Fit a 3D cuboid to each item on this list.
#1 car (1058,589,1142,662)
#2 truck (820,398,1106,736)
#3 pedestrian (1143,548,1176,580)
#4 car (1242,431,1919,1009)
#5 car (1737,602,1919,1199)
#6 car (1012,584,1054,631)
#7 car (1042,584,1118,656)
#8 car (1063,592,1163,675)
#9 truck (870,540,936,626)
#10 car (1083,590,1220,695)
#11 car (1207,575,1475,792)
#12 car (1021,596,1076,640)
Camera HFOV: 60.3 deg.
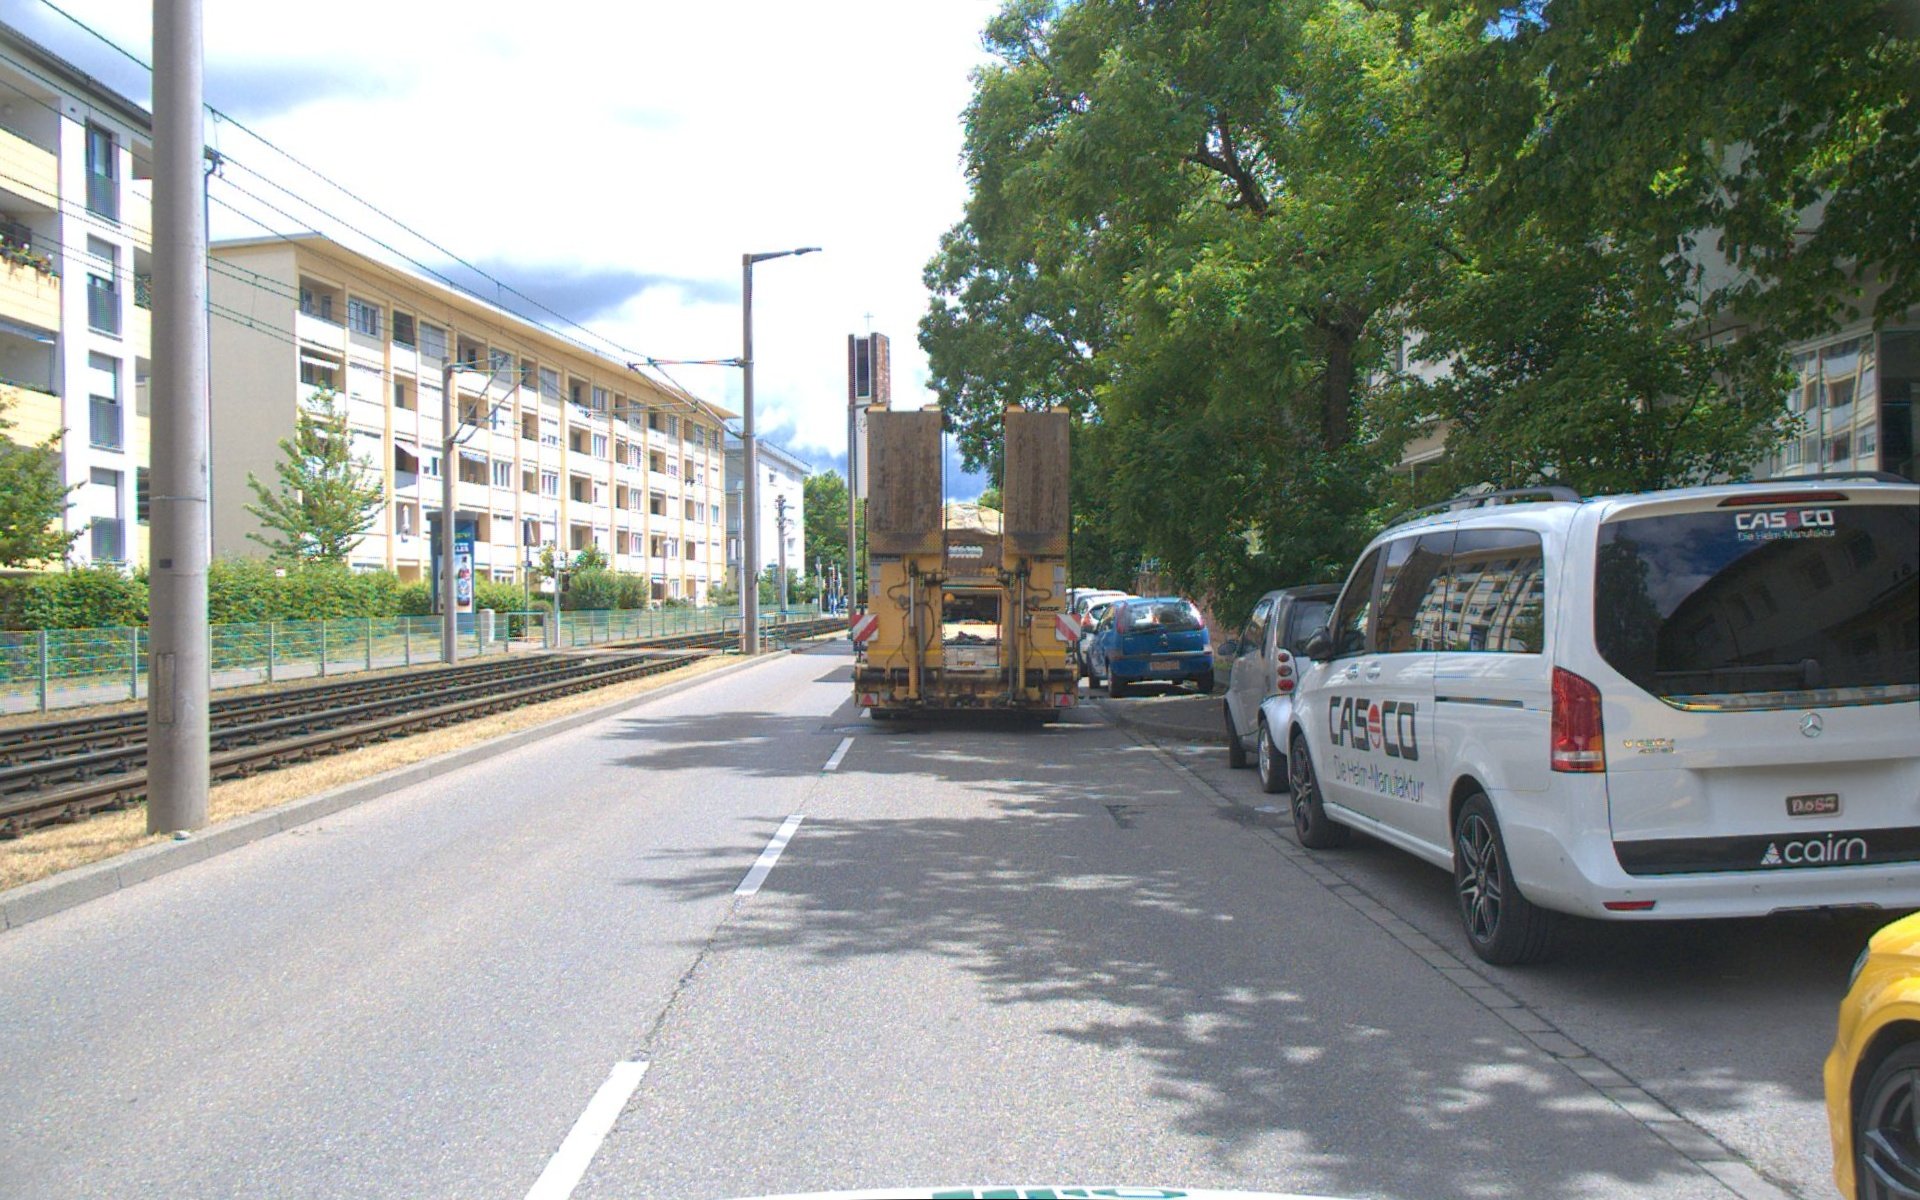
[{"bbox_3d":[3.158,0.543,37.918,1.549,1.579,3.474,0,0,-1],"label":"car"},{"bbox_3d":[-0.179,-0.412,24.086,3.061,3.627,12.455,0,0,-2],"label":"truck"},{"bbox_3d":[5.160,-0.931,42.797,0.779,0.804,0.705,0,0,-1],"label":"pedestrian"},{"bbox_3d":[3.012,0.389,8.693,1.876,1.993,5.743,-2,0,-2],"label":"car"},{"bbox_3d":[2.818,0.736,1.895,1.719,1.467,4.340,-2,0,-1],"label":"car"},{"bbox_3d":[3.321,0.316,75.812,1.762,2.003,4.590,-2,0,1],"label":"car"},{"bbox_3d":[3.026,0.461,42.537,1.786,1.711,4.577,-1,0,3],"label":"car"},{"bbox_3d":[2.974,0.619,32.776,1.611,1.516,3.822,0,0,0],"label":"car"},{"bbox_3d":[-2.505,-0.762,74.085,2.642,3.643,6.145,1,0,1],"label":"truck"},{"bbox_3d":[2.959,0.620,26.168,1.575,1.482,3.674,-2,0,-2],"label":"car"},{"bbox_3d":[3.060,0.611,13.771,1.482,1.560,2.846,-2,0,-1],"label":"car"},{"bbox_3d":[3.048,0.598,57.750,1.798,1.430,4.415,-2,0,2],"label":"car"}]
